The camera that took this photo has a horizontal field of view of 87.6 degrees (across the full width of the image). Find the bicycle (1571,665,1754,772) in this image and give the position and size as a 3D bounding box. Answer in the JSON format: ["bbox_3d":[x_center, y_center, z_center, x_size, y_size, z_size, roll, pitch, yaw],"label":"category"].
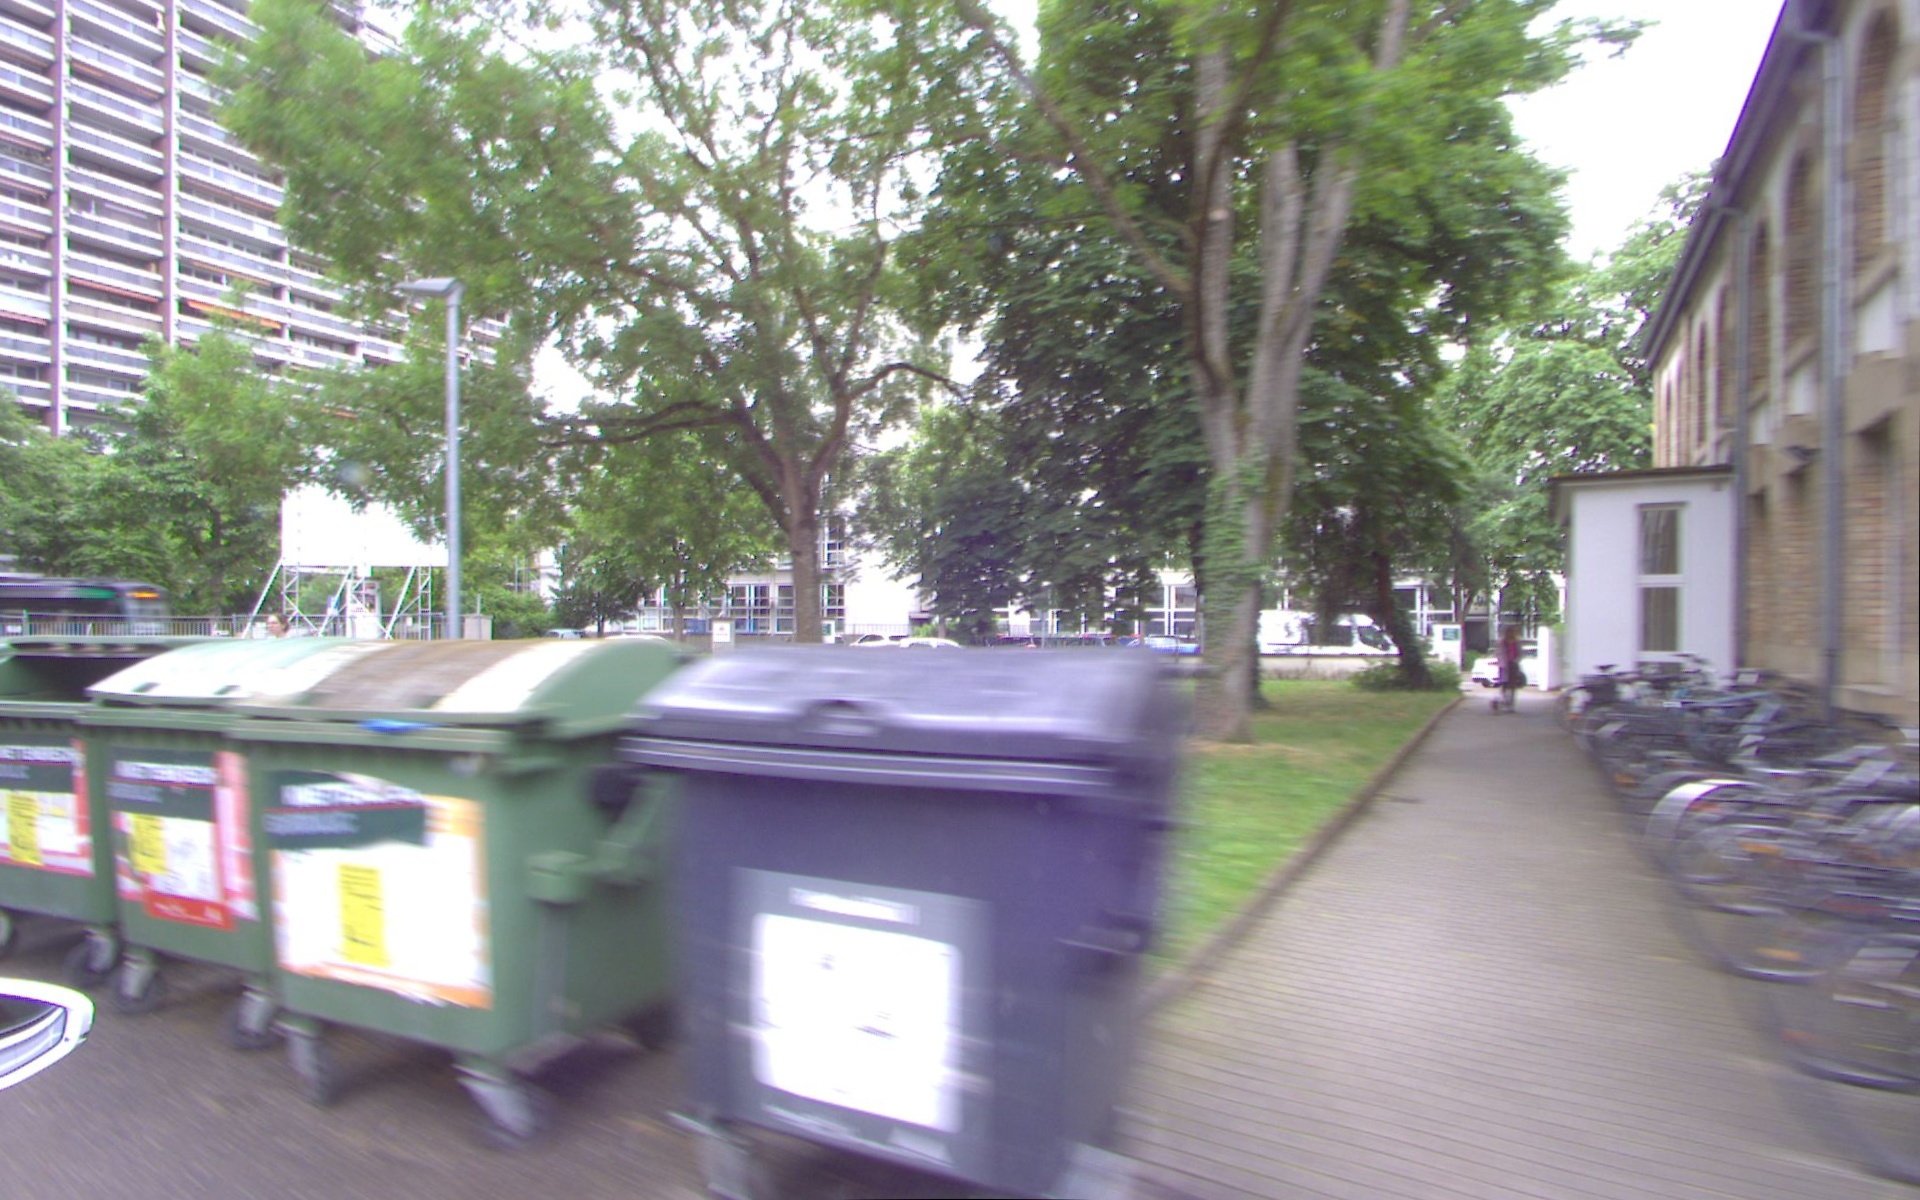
[{"bbox_3d":[8.165,1.351,11.723,1.720,1.129,0.458,-1,-1,32],"label":"bicycle"}]

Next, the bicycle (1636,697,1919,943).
[{"bbox_3d":[4.600,1.125,5.259,1.720,1.129,0.458,-1,-1,32],"label":"bicycle"}]

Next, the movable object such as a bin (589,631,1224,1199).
[{"bbox_3d":[-0.070,0.825,2.686,1.340,1.469,1.106,0,-1,25],"label":"movable object such as a bin"}]

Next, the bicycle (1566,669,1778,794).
[{"bbox_3d":[7.163,1.297,10.174,1.720,1.129,0.458,-1,-1,32],"label":"bicycle"}]

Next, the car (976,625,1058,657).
[{"bbox_3d":[2.757,1.999,48.709,1.658,1.492,3.915,1,-2,-45],"label":"car"}]

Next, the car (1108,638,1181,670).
[{"bbox_3d":[9.000,2.621,48.949,1.402,1.492,3.361,1,-2,-41],"label":"car"}]

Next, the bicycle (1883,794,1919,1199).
[{"bbox_3d":[2.745,1.000,1.662,1.720,1.129,0.458,-1,-1,32],"label":"bicycle"}]

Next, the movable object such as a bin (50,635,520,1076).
[{"bbox_3d":[-2.739,0.885,4.148,1.273,1.469,1.106,0,-1,25],"label":"movable object such as a bin"}]

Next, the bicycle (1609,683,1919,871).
[{"bbox_3d":[5.604,1.188,7.055,1.720,1.129,0.458,-1,-1,32],"label":"bicycle"}]

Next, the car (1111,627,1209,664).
[{"bbox_3d":[8.485,1.938,42.674,3.922,1.538,1.603,0,-1,2],"label":"car"}]

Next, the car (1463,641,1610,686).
[{"bbox_3d":[18.688,2.040,32.551,3.737,1.371,1.813,0,-1,-1],"label":"car"}]

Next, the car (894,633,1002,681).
[{"bbox_3d":[-0.360,1.880,33.434,3.524,1.520,1.666,0,-1,3],"label":"car"}]

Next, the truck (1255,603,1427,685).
[{"bbox_3d":[12.385,1.417,32.845,4.832,2.579,2.170,0,-1,2],"label":"truck"}]

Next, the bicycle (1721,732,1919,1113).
[{"bbox_3d":[3.488,1.051,3.135,1.720,1.129,0.458,-1,-1,32],"label":"bicycle"}]

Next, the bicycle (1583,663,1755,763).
[{"bbox_3d":[8.762,1.376,12.461,1.720,1.129,0.458,-1,-1,32],"label":"bicycle"}]

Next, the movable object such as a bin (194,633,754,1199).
[{"bbox_3d":[-1.566,0.854,3.363,1.305,1.469,1.106,0,-1,25],"label":"movable object such as a bin"}]

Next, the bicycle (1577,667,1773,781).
[{"bbox_3d":[7.804,1.326,11.018,1.720,1.129,0.458,-1,-1,32],"label":"bicycle"}]

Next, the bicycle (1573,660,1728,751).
[{"bbox_3d":[9.383,1.409,13.678,1.720,1.129,0.458,-1,-1,32],"label":"bicycle"}]

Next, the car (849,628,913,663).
[{"bbox_3d":[-3.916,2.234,49.383,1.539,1.638,3.381,1,-2,-39],"label":"car"}]

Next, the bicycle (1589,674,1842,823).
[{"bbox_3d":[6.502,1.247,8.732,1.720,1.129,0.458,-1,-1,32],"label":"bicycle"}]

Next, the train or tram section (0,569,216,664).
[{"bbox_3d":[-37.929,0.666,40.160,14.482,3.661,2.669,0,-1,2],"label":"train or tram section"}]

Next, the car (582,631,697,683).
[{"bbox_3d":[-9.516,1.738,30.092,1.747,1.450,3.982,-1,-4,7],"label":"car"}]

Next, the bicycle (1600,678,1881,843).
[{"bbox_3d":[6.116,1.220,7.969,1.720,1.129,0.458,-1,-1,32],"label":"bicycle"}]

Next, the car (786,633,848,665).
[{"bbox_3d":[-7.028,2.376,49.072,1.539,1.492,3.381,1,-2,-39],"label":"car"}]

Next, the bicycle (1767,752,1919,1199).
[{"bbox_3d":[3.143,1.029,2.488,1.720,1.129,0.458,-1,-1,32],"label":"bicycle"}]

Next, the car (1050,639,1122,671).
[{"bbox_3d":[6.058,2.635,48.381,1.402,1.492,3.361,1,-2,-41],"label":"car"}]

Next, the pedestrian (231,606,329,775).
[{"bbox_3d":[-7.528,0.978,11.117,0.739,1.804,0.661,0,-1,-21],"label":"pedestrian"}]

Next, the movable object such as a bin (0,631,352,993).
[{"bbox_3d":[-3.919,0.891,4.876,1.265,1.469,1.106,0,-1,25],"label":"movable object such as a bin"}]

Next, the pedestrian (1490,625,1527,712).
[{"bbox_3d":[10.323,1.271,18.839,0.595,1.607,0.625,0,-1,30],"label":"pedestrian"}]

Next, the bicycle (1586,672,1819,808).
[{"bbox_3d":[6.903,1.270,9.409,1.720,1.129,0.458,-1,-1,32],"label":"bicycle"}]

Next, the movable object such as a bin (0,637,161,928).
[{"bbox_3d":[-5.220,0.939,5.553,1.262,1.452,1.063,-1,-2,43],"label":"movable object such as a bin"}]

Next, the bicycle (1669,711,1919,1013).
[{"bbox_3d":[4.001,1.087,4.148,1.721,1.129,0.458,-1,-1,34],"label":"bicycle"}]

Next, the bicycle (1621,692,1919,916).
[{"bbox_3d":[4.897,1.146,5.844,1.720,1.129,0.458,-1,-1,32],"label":"bicycle"}]
